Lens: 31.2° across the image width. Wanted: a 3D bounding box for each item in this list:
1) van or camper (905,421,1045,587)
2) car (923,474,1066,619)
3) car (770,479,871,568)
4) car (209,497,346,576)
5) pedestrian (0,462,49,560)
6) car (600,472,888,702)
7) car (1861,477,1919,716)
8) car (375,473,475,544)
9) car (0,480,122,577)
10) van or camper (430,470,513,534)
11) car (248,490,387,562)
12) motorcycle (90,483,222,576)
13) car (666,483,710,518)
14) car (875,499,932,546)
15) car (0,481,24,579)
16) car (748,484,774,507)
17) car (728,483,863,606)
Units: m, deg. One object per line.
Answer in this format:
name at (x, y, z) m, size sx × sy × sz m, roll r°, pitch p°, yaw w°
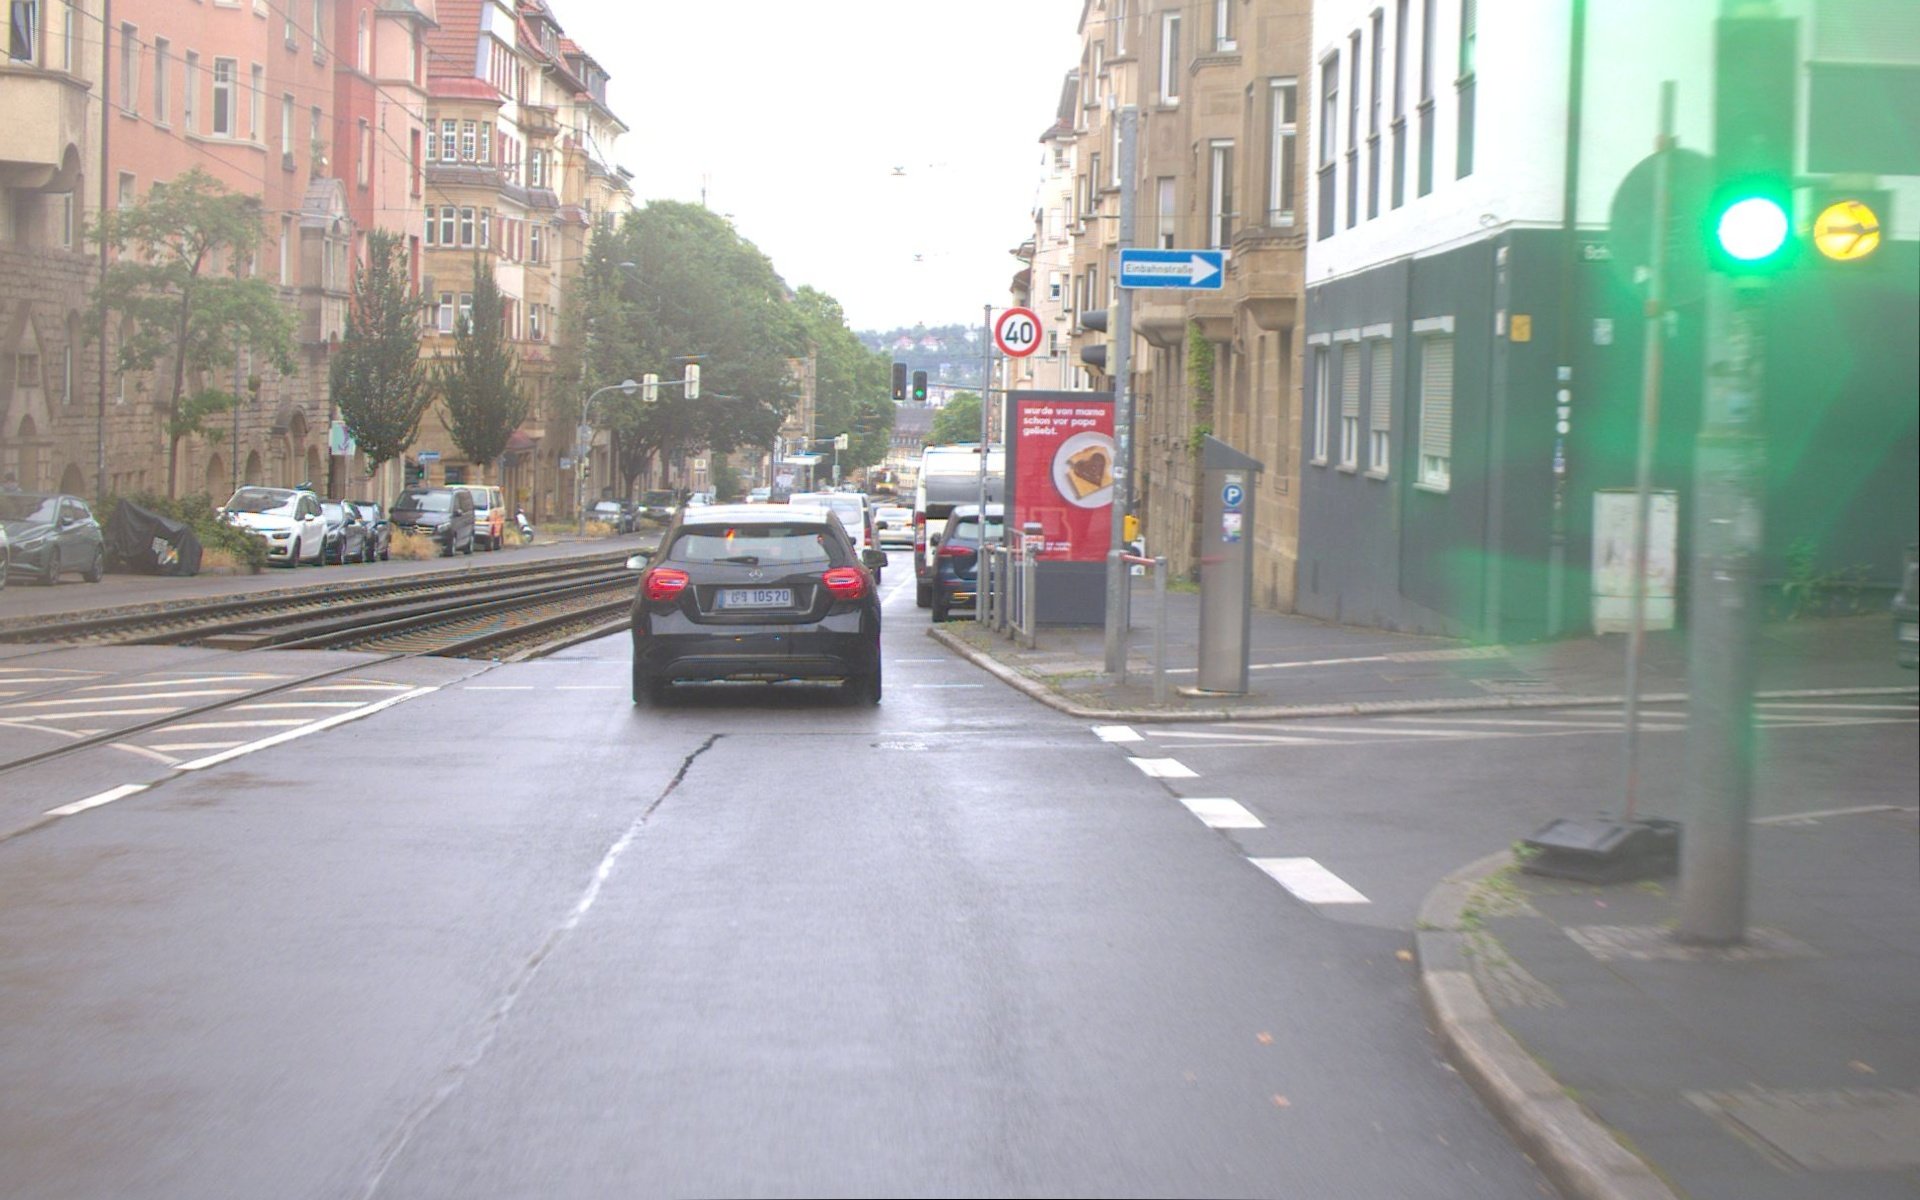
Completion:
van or camper at (0.244, -1.513, 54.977) m, size 2.064 × 2.460 × 6.119 m, roll 1°, pitch 1°, yaw 0°
car at (0.450, -0.748, 46.437) m, size 1.768 × 1.802 × 4.482 m, roll 2°, pitch 1°, yaw 0°
car at (-2.815, -1.555, 68.521) m, size 1.921 × 1.649 × 4.001 m, roll 0°, pitch 3°, yaw -4°
car at (-14.552, -1.367, 73.527) m, size 1.785 × 1.584 × 4.350 m, roll 1°, pitch 1°, yaw 4°
pedestrian at (-17.260, -1.626, 62.653) m, size 1.007 × 1.747 × 0.924 m, roll 2°, pitch 2°, yaw 0°
car at (-1.522, -0.119, 25.454) m, size 1.946 × 1.559 × 3.643 m, roll 1°, pitch 1°, yaw -1°
car at (7.686, -0.034, 20.851) m, size 3.987 × 1.409 × 1.761 m, roll 0°, pitch 2°, yaw 2°
car at (-14.907, -2.540, 95.982) m, size 1.993 × 1.895 × 4.699 m, roll 1°, pitch 1°, yaw 1°
car at (-14.722, -1.176, 54.978) m, size 1.561 × 1.433 × 4.146 m, roll 0°, pitch 3°, yaw 1°
van or camper at (-14.754, -2.997, 104.071) m, size 1.993 × 1.895 × 4.700 m, roll 0°, pitch 2°, yaw -2°
car at (-14.789, -1.724, 79.420) m, size 1.994 × 1.504 × 4.974 m, roll 3°, pitch 2°, yaw 3°
motorcycle at (-14.733, -1.288, 62.941) m, size 2.258 × 1.637 × 1.293 m, roll 1°, pitch 1°, yaw -17°
car at (-14.700, -5.402, 186.106) m, size 1.993 × 1.787 × 4.000 m, roll 2°, pitch 2°, yaw 0°
car at (-1.969, -2.707, 120.375) m, size 1.902 × 1.588 × 4.000 m, roll 1°, pitch 1°, yaw 0°
car at (-14.761, -1.015, 48.757) m, size 1.667 × 1.421 × 4.262 m, roll 1°, pitch 1°, yaw 2°
car at (-14.220, -7.444, 245.494) m, size 1.795 × 1.543 × 4.001 m, roll 1°, pitch 1°, yaw -3°
car at (-2.180, -0.784, 46.304) m, size 1.536 × 1.505 × 4.001 m, roll 2°, pitch 2°, yaw 0°
